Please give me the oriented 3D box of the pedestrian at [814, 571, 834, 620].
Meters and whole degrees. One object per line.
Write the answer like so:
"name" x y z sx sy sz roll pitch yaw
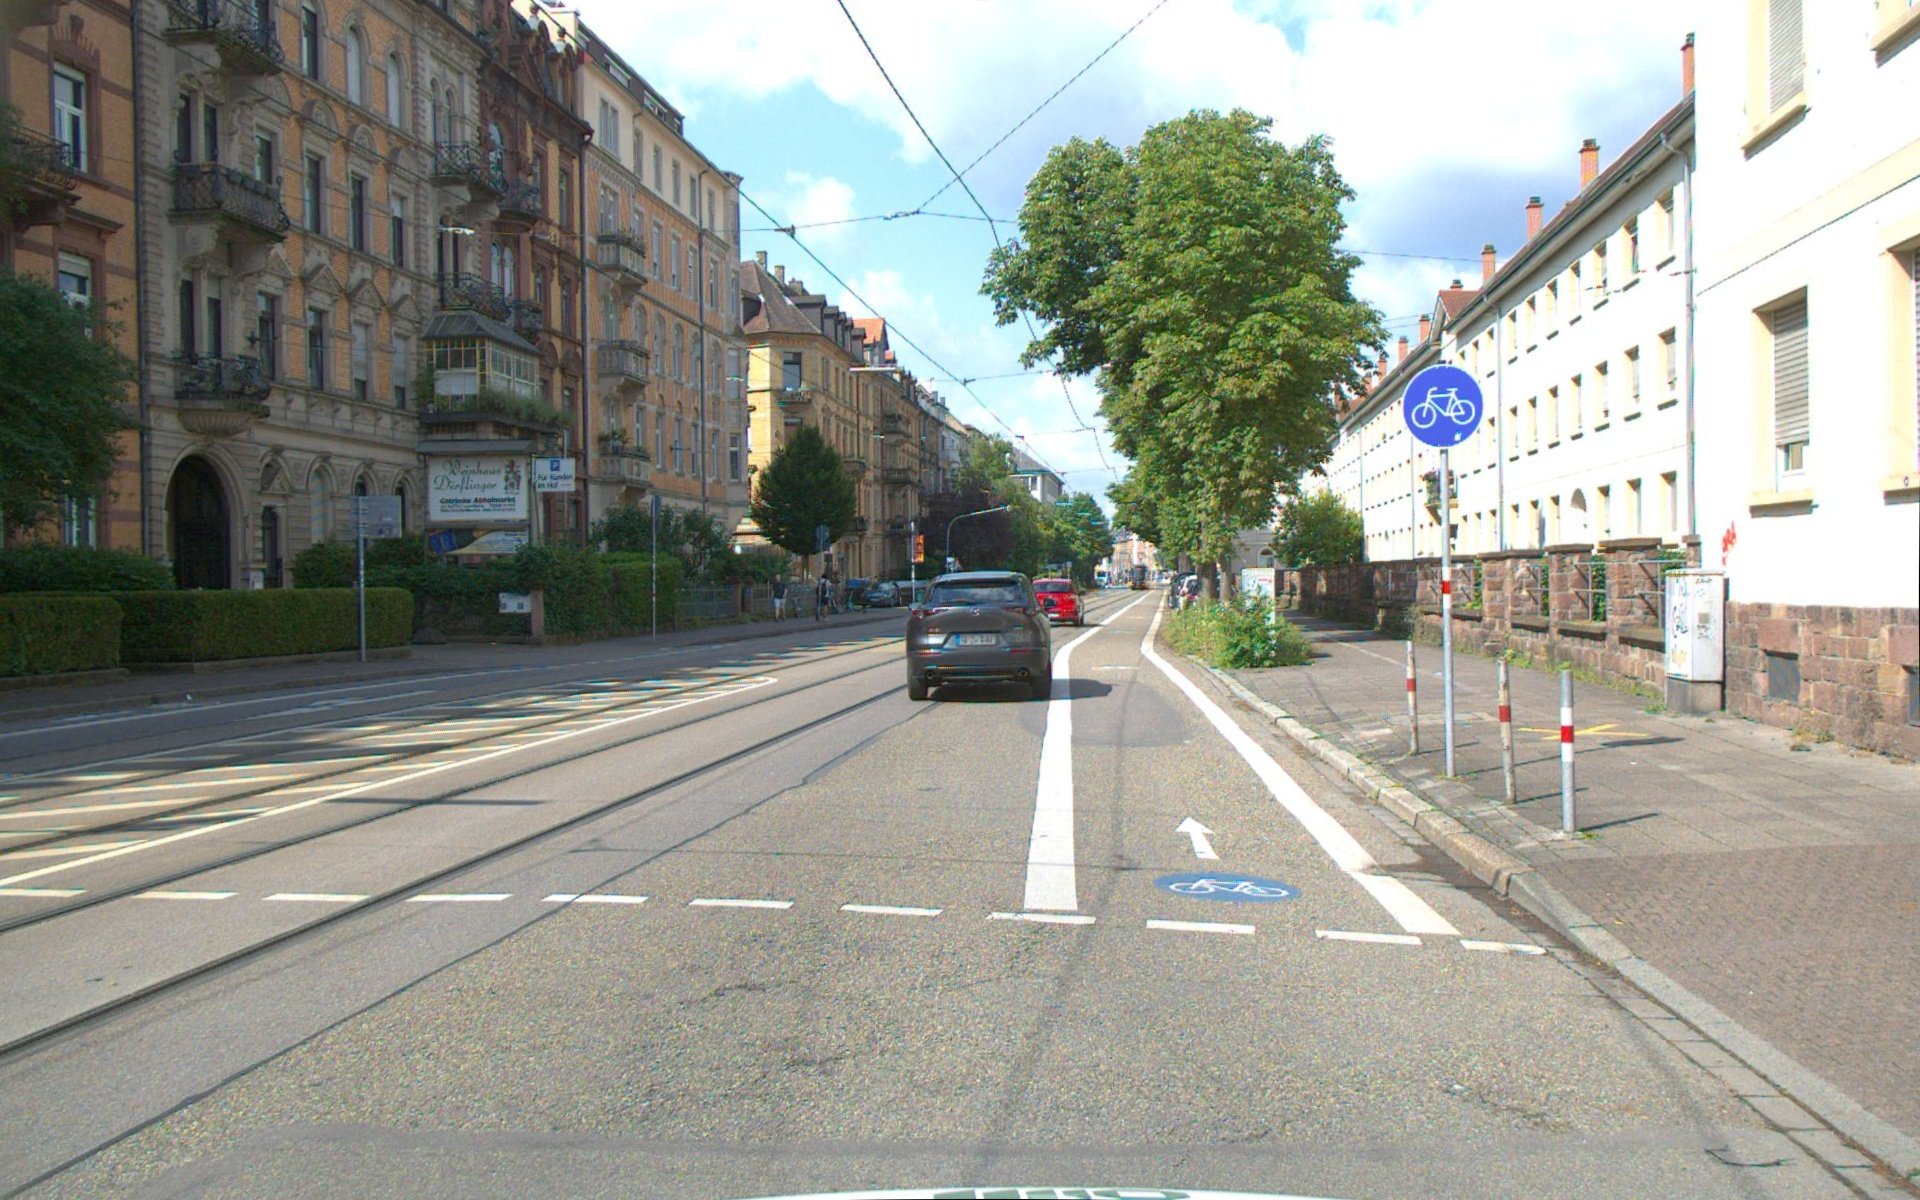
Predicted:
"pedestrian" -5.063 -0.178 61.553 0.522 1.791 1.106 1 1 7

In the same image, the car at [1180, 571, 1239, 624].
"car" 7.655 -0.090 50.943 1.625 1.547 4.291 -1 1 6

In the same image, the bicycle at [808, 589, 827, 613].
"bicycle" -5.906 0.035 68.662 0.412 0.993 1.951 -1 0 7

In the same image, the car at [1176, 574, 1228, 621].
"car" 8.691 -0.122 59.594 1.705 1.608 4.252 -1 1 6

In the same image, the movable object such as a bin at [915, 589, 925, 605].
"movable object such as a bin" -2.382 -0.178 99.070 0.514 0.921 0.636 -1 0 6

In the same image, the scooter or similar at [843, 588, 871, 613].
"scooter or similar" -5.109 0.016 81.892 1.342 1.256 0.401 0 0 -22

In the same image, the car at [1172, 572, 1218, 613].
"car" 9.985 -0.344 70.612 1.823 1.682 4.641 -1 1 7

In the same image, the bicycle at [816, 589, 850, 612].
"bicycle" -5.608 0.008 73.196 1.422 0.993 0.404 -1 1 7

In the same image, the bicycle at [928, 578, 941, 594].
"bicycle" -1.570 -0.854 102.969 0.519 0.963 1.969 -1 0 7

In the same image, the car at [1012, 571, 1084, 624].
"car" 2.822 -0.085 52.224 1.951 1.555 4.003 1 1 7

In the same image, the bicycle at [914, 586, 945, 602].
"bicycle" -1.948 -0.397 105.488 1.920 0.963 0.532 -1 0 3

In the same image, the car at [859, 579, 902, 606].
"car" -4.639 -0.457 97.052 1.649 1.485 4.768 -1 0 7

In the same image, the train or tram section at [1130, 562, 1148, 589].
"train or tram section" 25.833 -3.573 238.425 2.517 3.838 13.037 -1 1 7

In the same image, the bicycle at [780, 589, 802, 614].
"bicycle" -6.502 0.057 63.801 0.412 0.949 1.951 -1 0 7

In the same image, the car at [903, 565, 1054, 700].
"car" 0.317 0.352 21.160 1.684 1.553 3.591 -1 1 4

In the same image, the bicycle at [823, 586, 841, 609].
"bicycle" -5.537 -0.118 71.480 0.412 0.993 1.951 -1 0 7

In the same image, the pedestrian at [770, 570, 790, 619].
"pedestrian" -6.483 -0.216 59.460 0.477 1.733 1.152 -1 0 5
